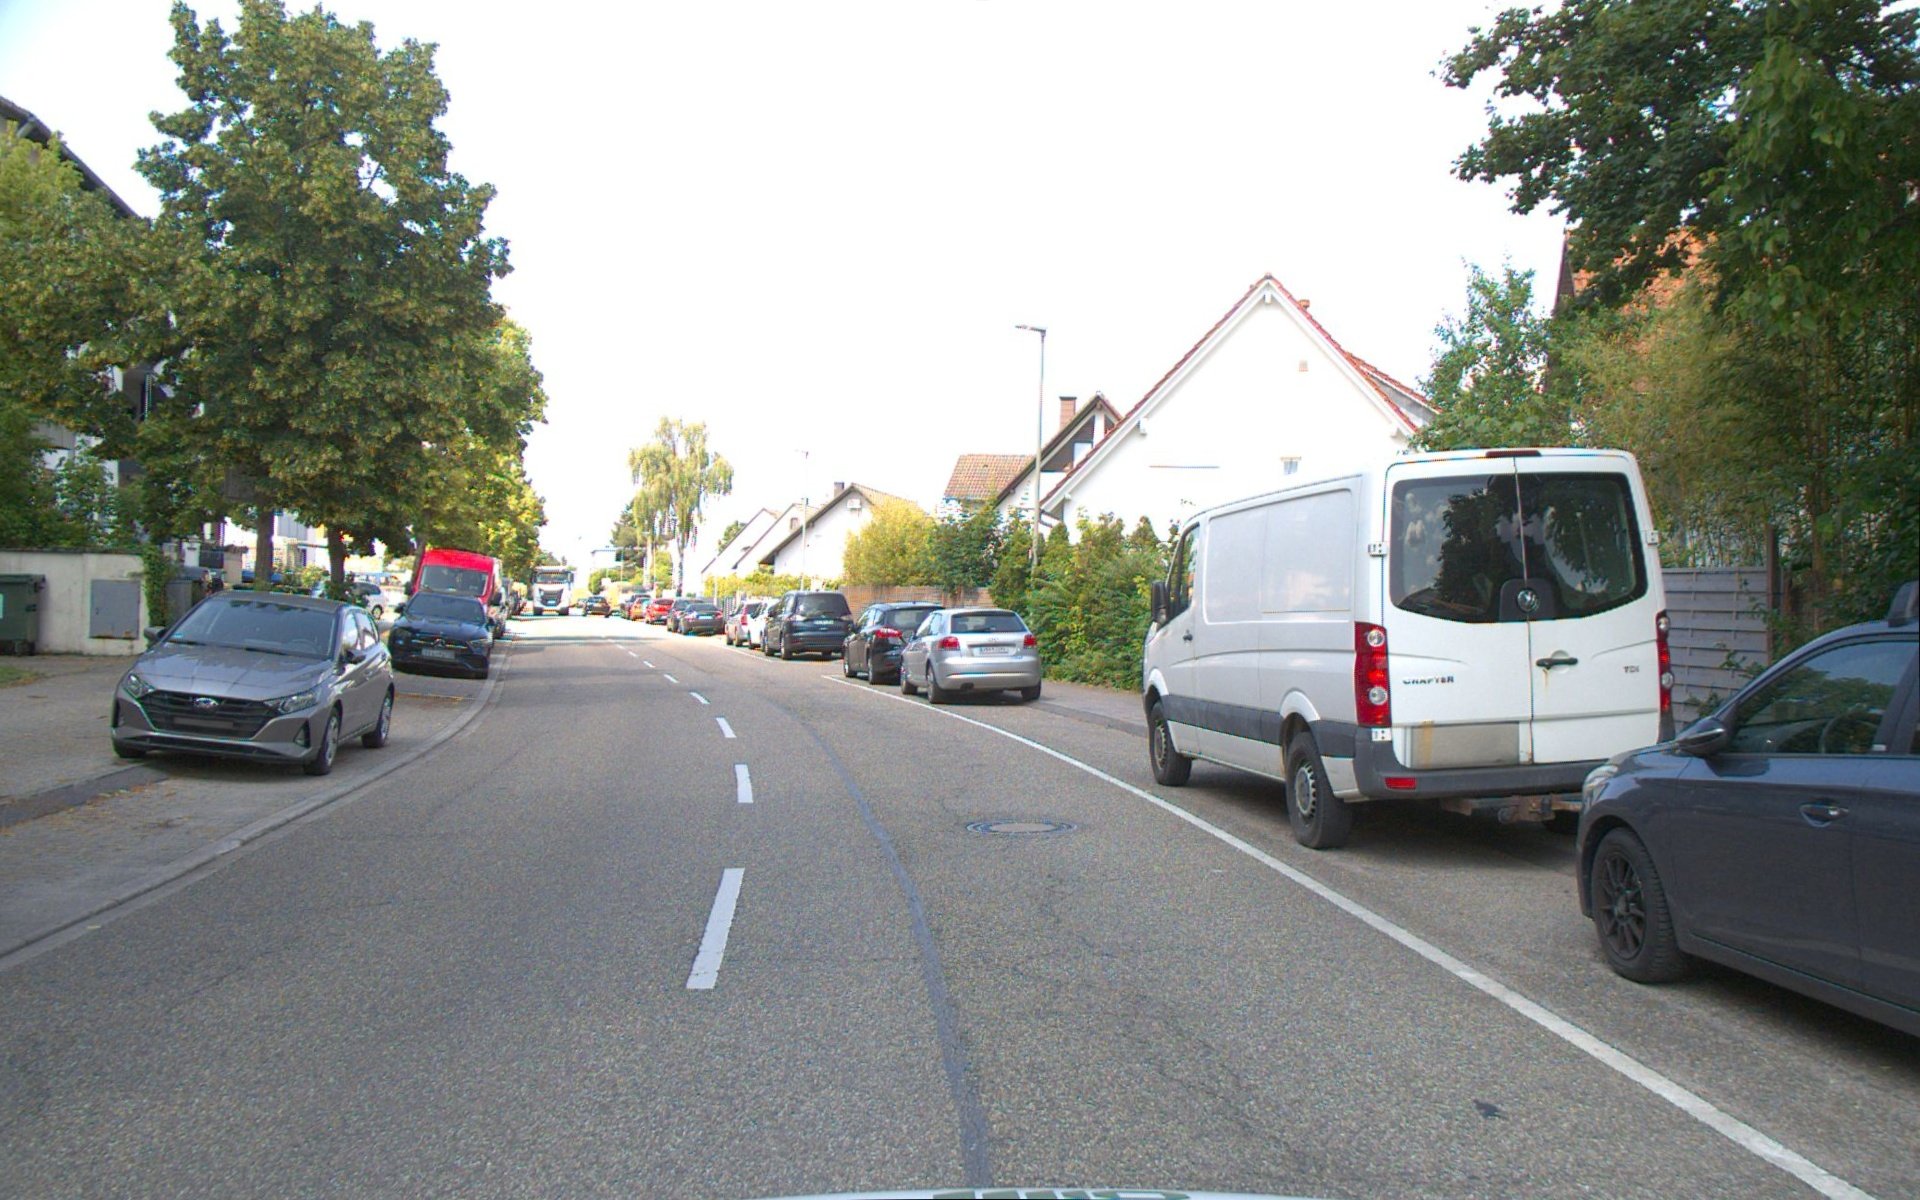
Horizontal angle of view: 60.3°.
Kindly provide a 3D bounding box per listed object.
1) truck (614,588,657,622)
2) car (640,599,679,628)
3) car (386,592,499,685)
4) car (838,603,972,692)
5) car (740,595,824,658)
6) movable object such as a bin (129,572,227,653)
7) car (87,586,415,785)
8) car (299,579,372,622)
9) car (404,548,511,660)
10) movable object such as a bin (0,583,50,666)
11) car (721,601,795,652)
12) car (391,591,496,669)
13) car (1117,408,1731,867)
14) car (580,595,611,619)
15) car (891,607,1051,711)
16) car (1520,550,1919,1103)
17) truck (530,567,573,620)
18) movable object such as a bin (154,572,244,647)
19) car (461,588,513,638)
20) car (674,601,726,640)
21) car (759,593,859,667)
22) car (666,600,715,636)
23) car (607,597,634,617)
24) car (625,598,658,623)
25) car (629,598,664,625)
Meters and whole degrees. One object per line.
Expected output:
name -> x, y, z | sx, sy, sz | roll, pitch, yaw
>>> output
truck -> -23.152, 0.338, 117.858 | 2.526, 2.300, 6.509 | 2, 0, -15
car -> -16.956, 0.754, 93.307 | 1.765, 1.550, 4.513 | 2, 0, -15
car -> -9.712, 0.682, 31.195 | 1.759, 1.482, 4.415 | 6, -2, -16
car -> -1.136, 0.867, 31.976 | 1.707, 1.535, 4.460 | 2, 0, -14
car -> -5.363, 0.760, 49.486 | 1.766, 1.779, 3.954 | 2, 0, -17
movable object such as a bin -> -15.425, 0.234, 32.703 | 1.331, 1.530, 1.821 | 1, 0, -12
car -> -6.379, 0.683, 15.413 | 1.728, 1.515, 4.334 | 3, 0, -9
car -> -25.214, 0.054, 66.923 | 1.754, 1.482, 4.426 | 6, -2, -9
car -> -13.076, 0.094, 43.404 | 2.029, 2.543, 5.822 | 6, -1, -13
movable object such as a bin -> -15.820, 0.392, 27.253 | 1.168, 1.296, 0.878 | 1, 3, -3
car -> -6.602, 0.842, 53.854 | 1.766, 1.550, 3.956 | 2, 0, -16
car -> -11.597, 0.657, 37.377 | 1.756, 1.482, 4.420 | 6, -2, -13
car -> 2.871, 0.231, 12.045 | 2.078, 2.484, 5.883 | 2, 0, -8
car -> -25.047, 0.479, 113.478 | 1.766, 1.550, 4.512 | 2, 0, -16
car -> 0.076, 0.884, 26.593 | 1.706, 1.483, 4.352 | 2, 0, -11
car -> 3.593, 0.684, 5.532 | 1.684, 1.613, 4.119 | 2, 0, -6
truck -> -29.935, -0.462, 121.522 | 2.814, 3.574, 12.312 | 2, 0, -13
movable object such as a bin -> -16.234, 0.198, 35.326 | 1.331, 1.530, 1.821 | 1, 0, -12
car -> -18.820, 0.511, 65.793 | 1.759, 1.776, 4.415 | 6, -2, -16
car -> -11.130, 0.862, 70.548 | 1.765, 1.550, 3.957 | 2, 0, -15
car -> -4.003, 0.742, 43.350 | 1.766, 1.779, 4.564 | 2, 0, -16
car -> -12.240, 0.804, 74.937 | 1.765, 1.550, 3.957 | 2, 0, -15
car -> -27.416, 0.534, 133.370 | 1.766, 1.550, 4.512 | 2, 0, -16
car -> -20.661, 0.667, 107.248 | 1.765, 1.550, 4.513 | 2, 0, -15
car -> -19.505, 0.701, 102.781 | 1.765, 1.550, 4.513 | 2, 0, -15
